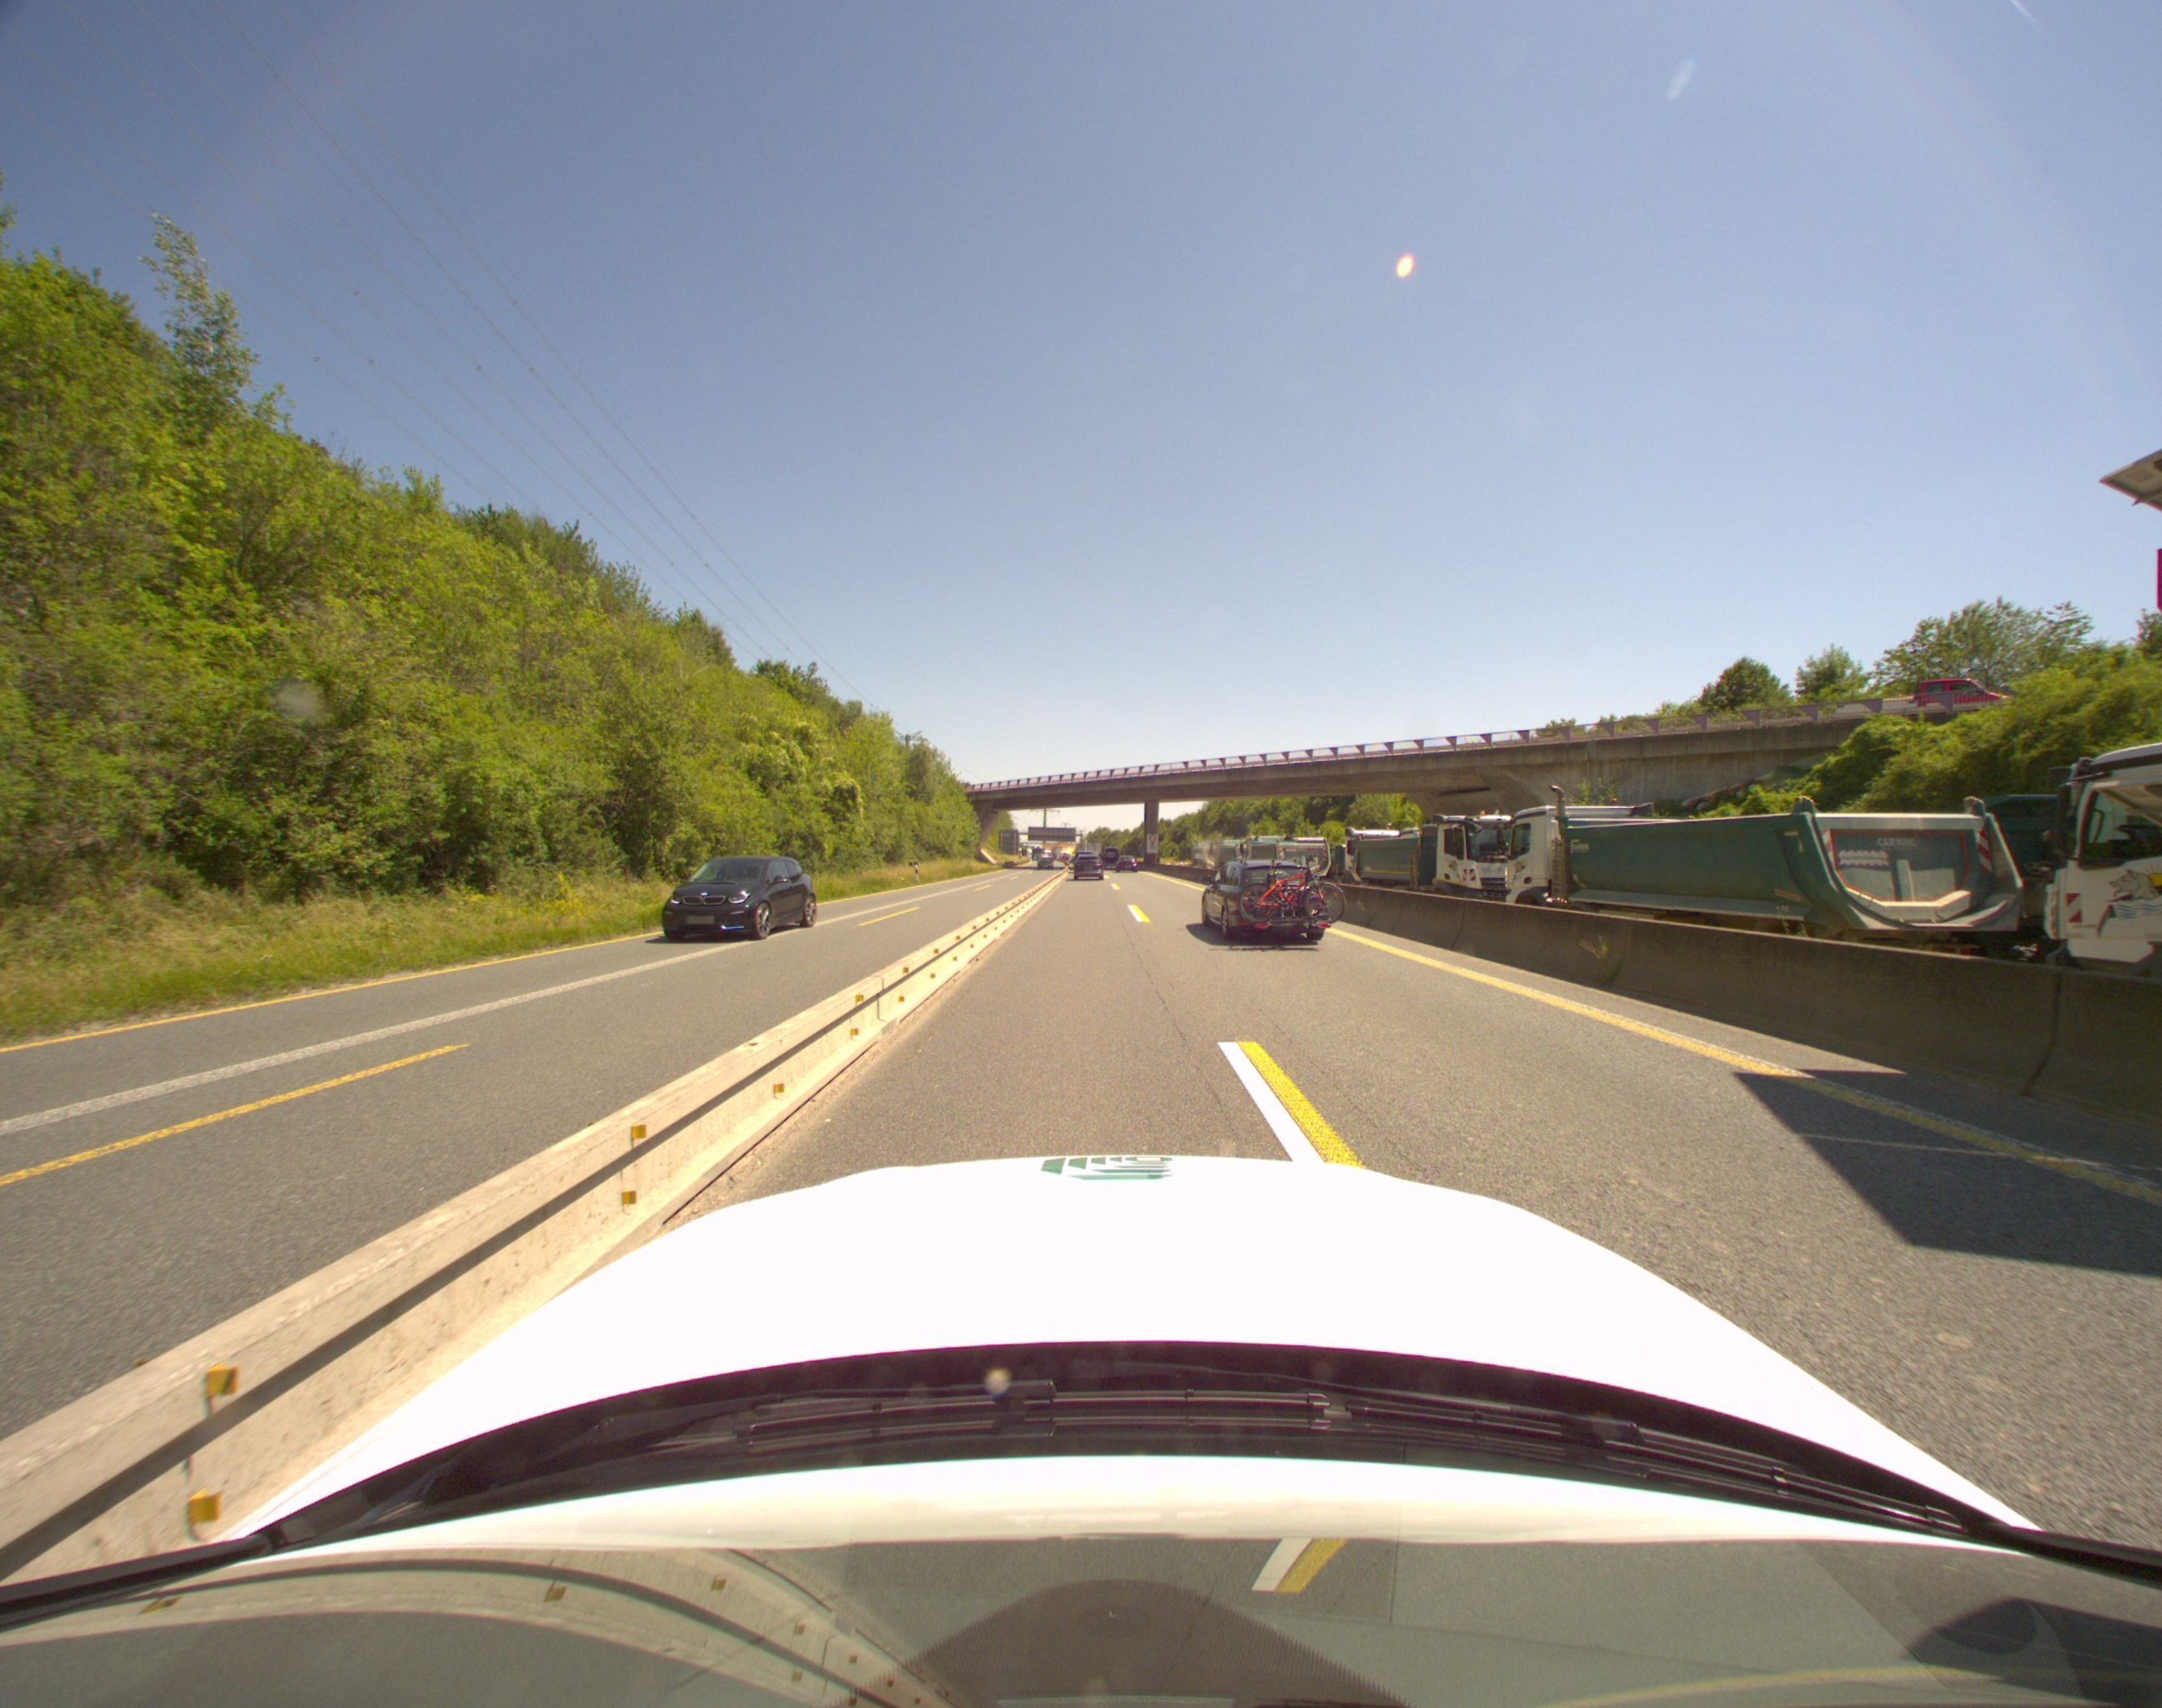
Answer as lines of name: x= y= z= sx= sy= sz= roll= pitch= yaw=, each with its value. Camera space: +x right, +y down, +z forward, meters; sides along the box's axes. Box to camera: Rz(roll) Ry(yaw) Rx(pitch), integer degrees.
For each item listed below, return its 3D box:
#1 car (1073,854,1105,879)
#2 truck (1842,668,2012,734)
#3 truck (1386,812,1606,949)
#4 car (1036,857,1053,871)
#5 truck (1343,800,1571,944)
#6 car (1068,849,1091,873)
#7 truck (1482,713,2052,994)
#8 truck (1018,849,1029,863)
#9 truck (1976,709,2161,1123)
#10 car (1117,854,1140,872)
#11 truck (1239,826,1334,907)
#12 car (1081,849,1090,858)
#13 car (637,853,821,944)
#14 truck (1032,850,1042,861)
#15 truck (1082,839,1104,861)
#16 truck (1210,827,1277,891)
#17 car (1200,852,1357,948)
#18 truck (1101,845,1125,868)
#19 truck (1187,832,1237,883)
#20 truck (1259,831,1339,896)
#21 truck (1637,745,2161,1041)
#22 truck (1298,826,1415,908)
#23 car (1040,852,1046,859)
car: x=0.516 y=0.753 z=50.566 sx=1.892 sy=1.505 sz=4.278 roll=0 pitch=0 yaw=2
truck: x=40.402 y=-7.230 z=39.057 sx=1.945 sy=2.066 sz=5.453 roll=0 pitch=-1 yaw=-37
truck: x=13.231 y=0.737 z=27.187 sx=2.678 sy=3.761 sz=9.325 roll=0 pitch=0 yaw=1
car: x=-3.922 y=1.070 z=87.680 sx=1.668 sy=1.393 sz=4.071 roll=0 pitch=-1 yaw=0
truck: x=10.771 y=0.445 z=24.771 sx=2.678 sy=3.557 sz=9.324 roll=0 pitch=0 yaw=0
car: x=-0.073 y=0.610 z=71.542 sx=1.892 sy=1.968 sz=4.278 roll=0 pitch=0 yaw=2
truck: x=10.989 y=-0.005 z=14.984 sx=2.678 sy=3.557 sz=9.324 roll=0 pitch=0 yaw=0
truck: x=-13.449 y=0.514 z=192.203 sx=2.503 sy=3.186 sz=10.095 roll=0 pitch=0 yaw=-4
truck: x=10.490 y=0.525 z=3.729 sx=2.677 sy=3.557 sz=9.410 roll=0 pitch=0 yaw=2
car: x=4.123 y=0.762 z=71.581 sx=1.892 sy=1.585 sz=4.278 roll=0 pitch=0 yaw=2
truck: x=10.466 y=0.570 z=42.466 sx=2.678 sy=3.761 sz=9.325 roll=0 pitch=0 yaw=1
car: x=0.992 y=-0.067 z=187.644 sx=1.896 sy=1.968 sz=4.270 roll=0 pitch=0 yaw=-4
car: x=-6.730 y=0.768 z=16.106 sx=1.772 sy=1.577 sz=4.070 roll=0 pitch=0 yaw=2
truck: x=-12.287 y=0.402 z=227.492 sx=2.503 sy=3.186 sz=10.095 roll=0 pitch=0 yaw=-4
truck: x=2.200 y=-0.691 z=152.169 sx=3.286 sy=3.845 sz=10.095 roll=0 pitch=0 yaw=-4
truck: x=10.587 y=0.315 z=54.076 sx=2.678 sy=3.856 sz=9.325 roll=0 pitch=0 yaw=1
car: x=3.435 y=0.738 z=15.164 sx=1.892 sy=1.490 sz=4.949 roll=0 pitch=-1 yaw=2
truck: x=3.531 y=0.256 z=91.388 sx=2.398 sy=2.558 sz=7.499 roll=0 pitch=0 yaw=0
truck: x=10.535 y=0.253 z=66.528 sx=2.678 sy=3.843 sz=9.325 roll=0 pitch=0 yaw=1
truck: x=13.718 y=0.558 z=52.065 sx=2.678 sy=3.727 sz=9.324 roll=0 pitch=0 yaw=0
truck: x=13.691 y=0.444 z=13.299 sx=2.678 sy=3.378 sz=9.601 roll=0 pitch=0 yaw=0
truck: x=13.281 y=0.572 z=40.280 sx=2.678 sy=3.557 sz=9.324 roll=0 pitch=0 yaw=0
car: x=-11.286 y=0.485 z=242.988 sx=1.759 sy=1.838 sz=3.994 roll=0 pitch=-1 yaw=-4
